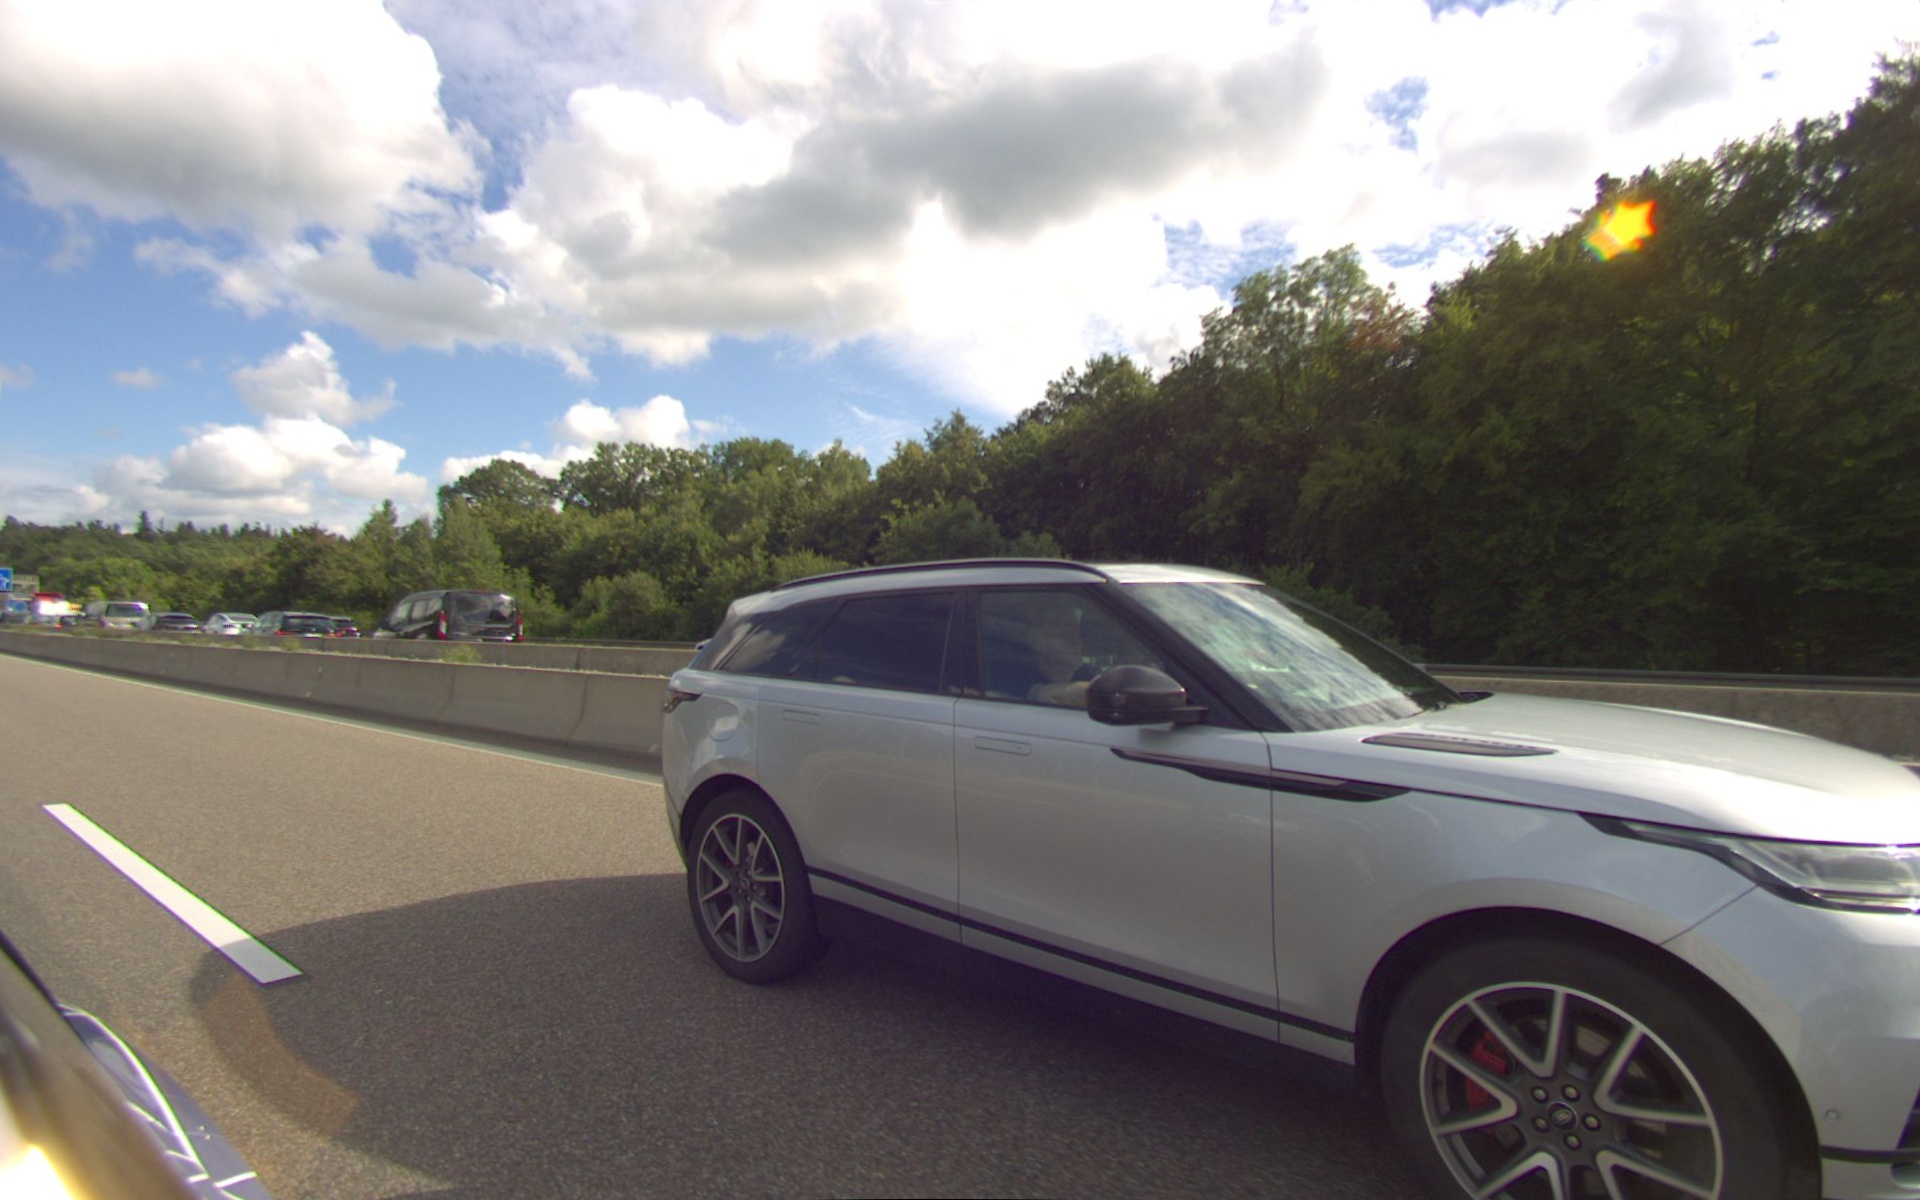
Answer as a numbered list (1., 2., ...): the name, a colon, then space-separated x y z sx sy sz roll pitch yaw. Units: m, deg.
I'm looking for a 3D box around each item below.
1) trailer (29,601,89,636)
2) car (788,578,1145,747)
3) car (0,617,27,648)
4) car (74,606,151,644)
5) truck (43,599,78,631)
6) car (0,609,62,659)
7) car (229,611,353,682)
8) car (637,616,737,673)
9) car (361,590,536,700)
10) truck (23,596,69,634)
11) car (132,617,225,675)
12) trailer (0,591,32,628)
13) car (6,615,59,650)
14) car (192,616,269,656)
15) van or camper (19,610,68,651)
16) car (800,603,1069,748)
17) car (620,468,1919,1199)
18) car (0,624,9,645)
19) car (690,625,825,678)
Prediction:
1. trailer: -93.291 1.917 104.683 14.208 3.361 2.700 -1 0 40
2. car: -0.056 0.639 12.814 4.458 1.776 1.838 0 0 42
3. car: -64.879 2.214 68.664 4.518 2.029 1.862 -1 -3 42
4. car: -37.422 1.093 44.630 4.814 1.584 1.972 -1 0 42
5. truck: -119.948 1.991 134.910 5.449 4.181 2.783 1 0 40
6. car: -38.491 1.380 41.527 3.998 1.935 1.973 -2 -1 42
7. car: -19.412 1.259 29.308 4.458 1.772 1.972 1 1 42
8. car: -11.744 1.914 43.376 4.457 2.029 1.972 -8 -5 42
9. car: -10.744 0.824 21.102 4.451 2.029 1.797 1 1 42
10. truck: -98.617 1.614 109.155 6.848 3.968 2.748 -1 0 40
11. car: -29.110 1.637 37.661 4.458 1.919 1.972 0 1 42
12. trailer: -120.868 1.101 128.507 13.651 4.266 2.743 1 1 40
13. car: -56.409 1.973 61.508 5.090 2.029 1.885 -1 -3 42
14. car: -34.096 1.645 47.258 4.761 1.746 1.972 -1 0 42
15. van or camper: -74.984 2.435 82.796 6.239 3.196 2.117 -1 0 40
16. car: -0.531 1.120 17.194 4.458 2.029 1.972 1 2 42
17. car: 0.999 0.588 3.556 5.103 1.619 1.880 0 0 41
18. car: -75.883 2.611 78.938 4.286 1.603 1.817 -1 -6 40
19. car: -6.732 1.644 33.253 5.072 1.411 1.694 1 1 42
